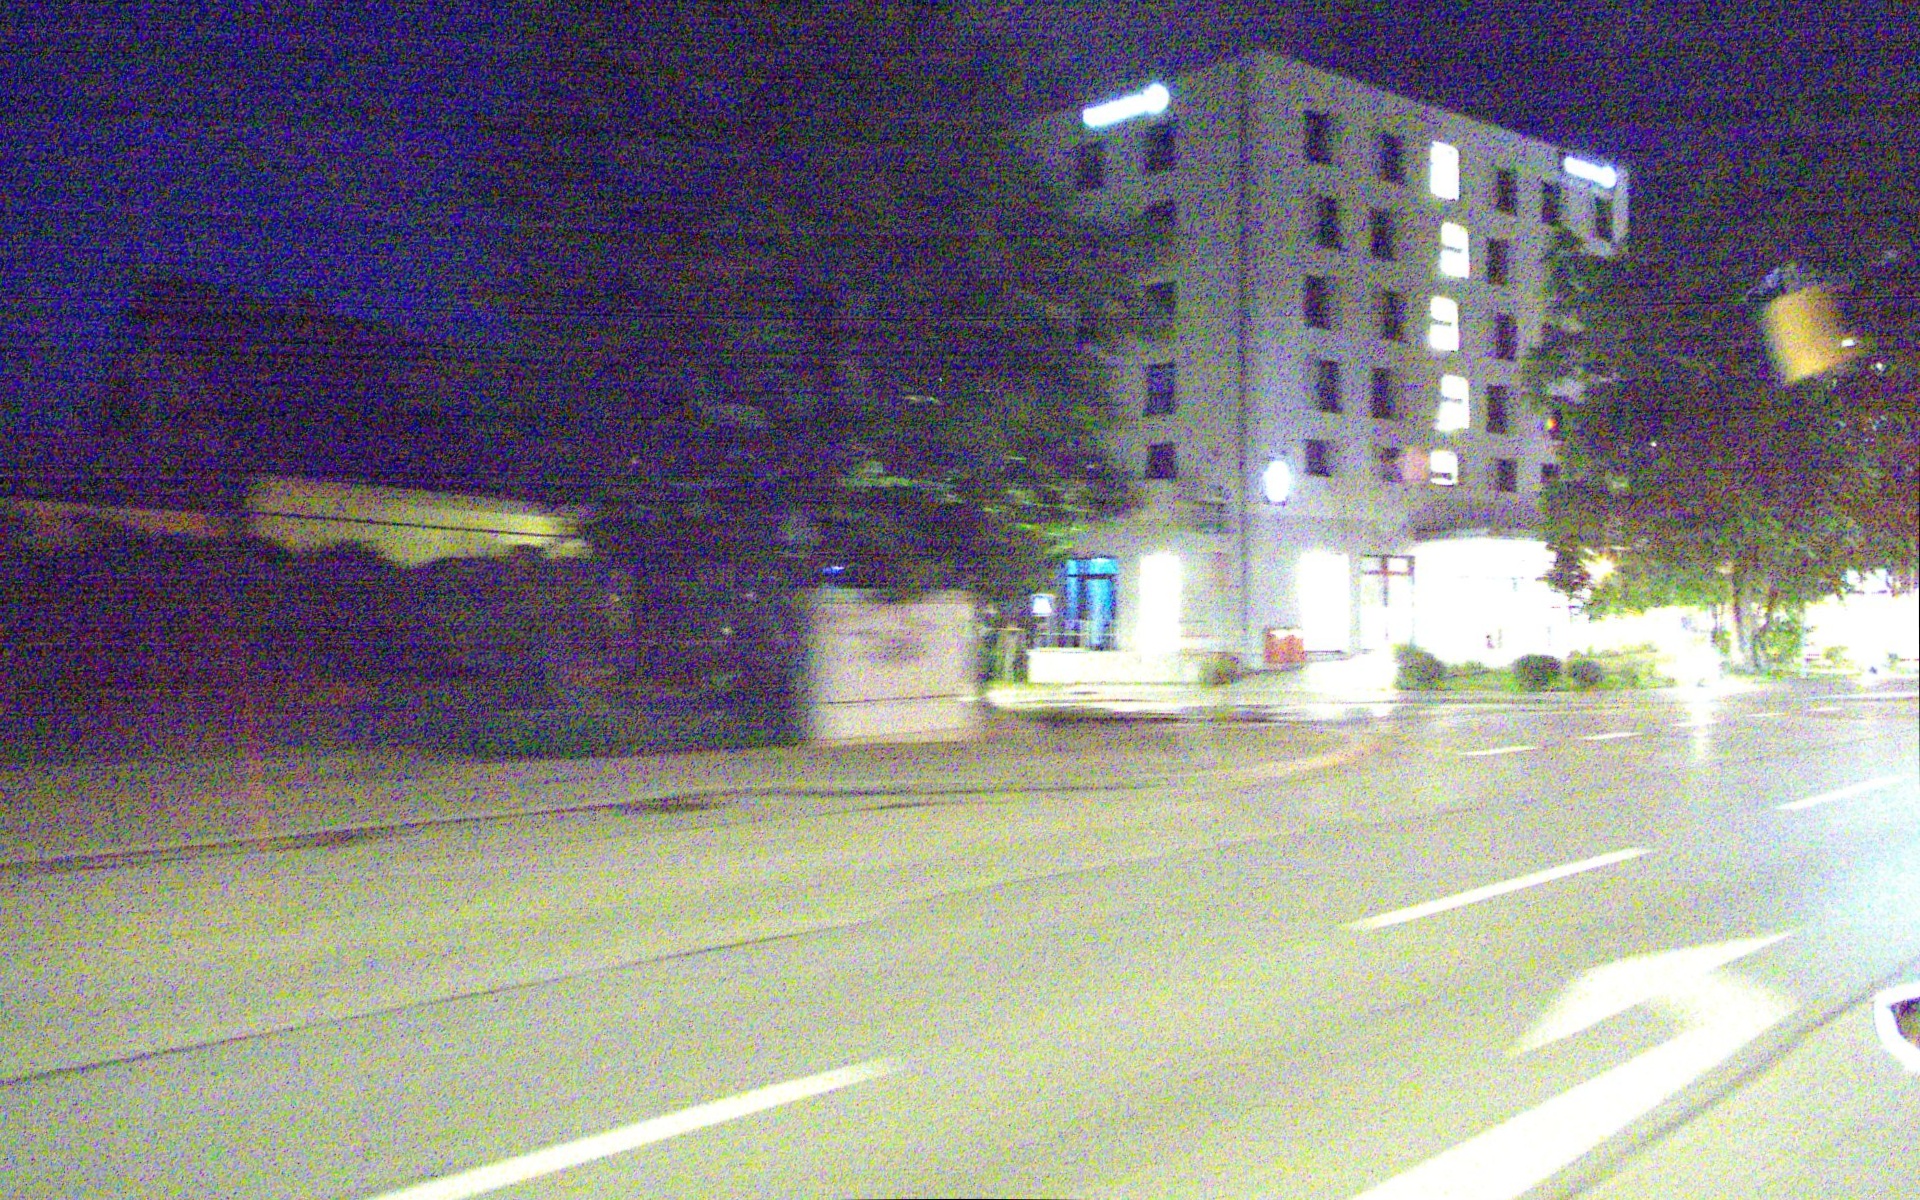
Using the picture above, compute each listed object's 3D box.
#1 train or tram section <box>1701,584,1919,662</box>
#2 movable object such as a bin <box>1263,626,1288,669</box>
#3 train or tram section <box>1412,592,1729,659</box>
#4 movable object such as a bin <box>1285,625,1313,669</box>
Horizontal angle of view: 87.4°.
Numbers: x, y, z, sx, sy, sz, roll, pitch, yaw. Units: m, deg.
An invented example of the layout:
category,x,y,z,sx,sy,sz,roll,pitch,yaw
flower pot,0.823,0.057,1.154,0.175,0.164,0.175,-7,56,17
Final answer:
category,x,y,z,sx,sy,sz,roll,pitch,yaw
train or tram section,48.866,1.152,50.758,2.886,3.873,19.107,1,-3,-27
movable object such as a bin,10.650,1.591,33.866,0.724,1.388,0.354,-3,-1,-32
train or tram section,40.061,1.896,68.028,2.903,3.912,19.724,1,-3,-27
movable object such as a bin,11.528,1.589,34.176,0.799,1.471,0.438,0,-2,-30
